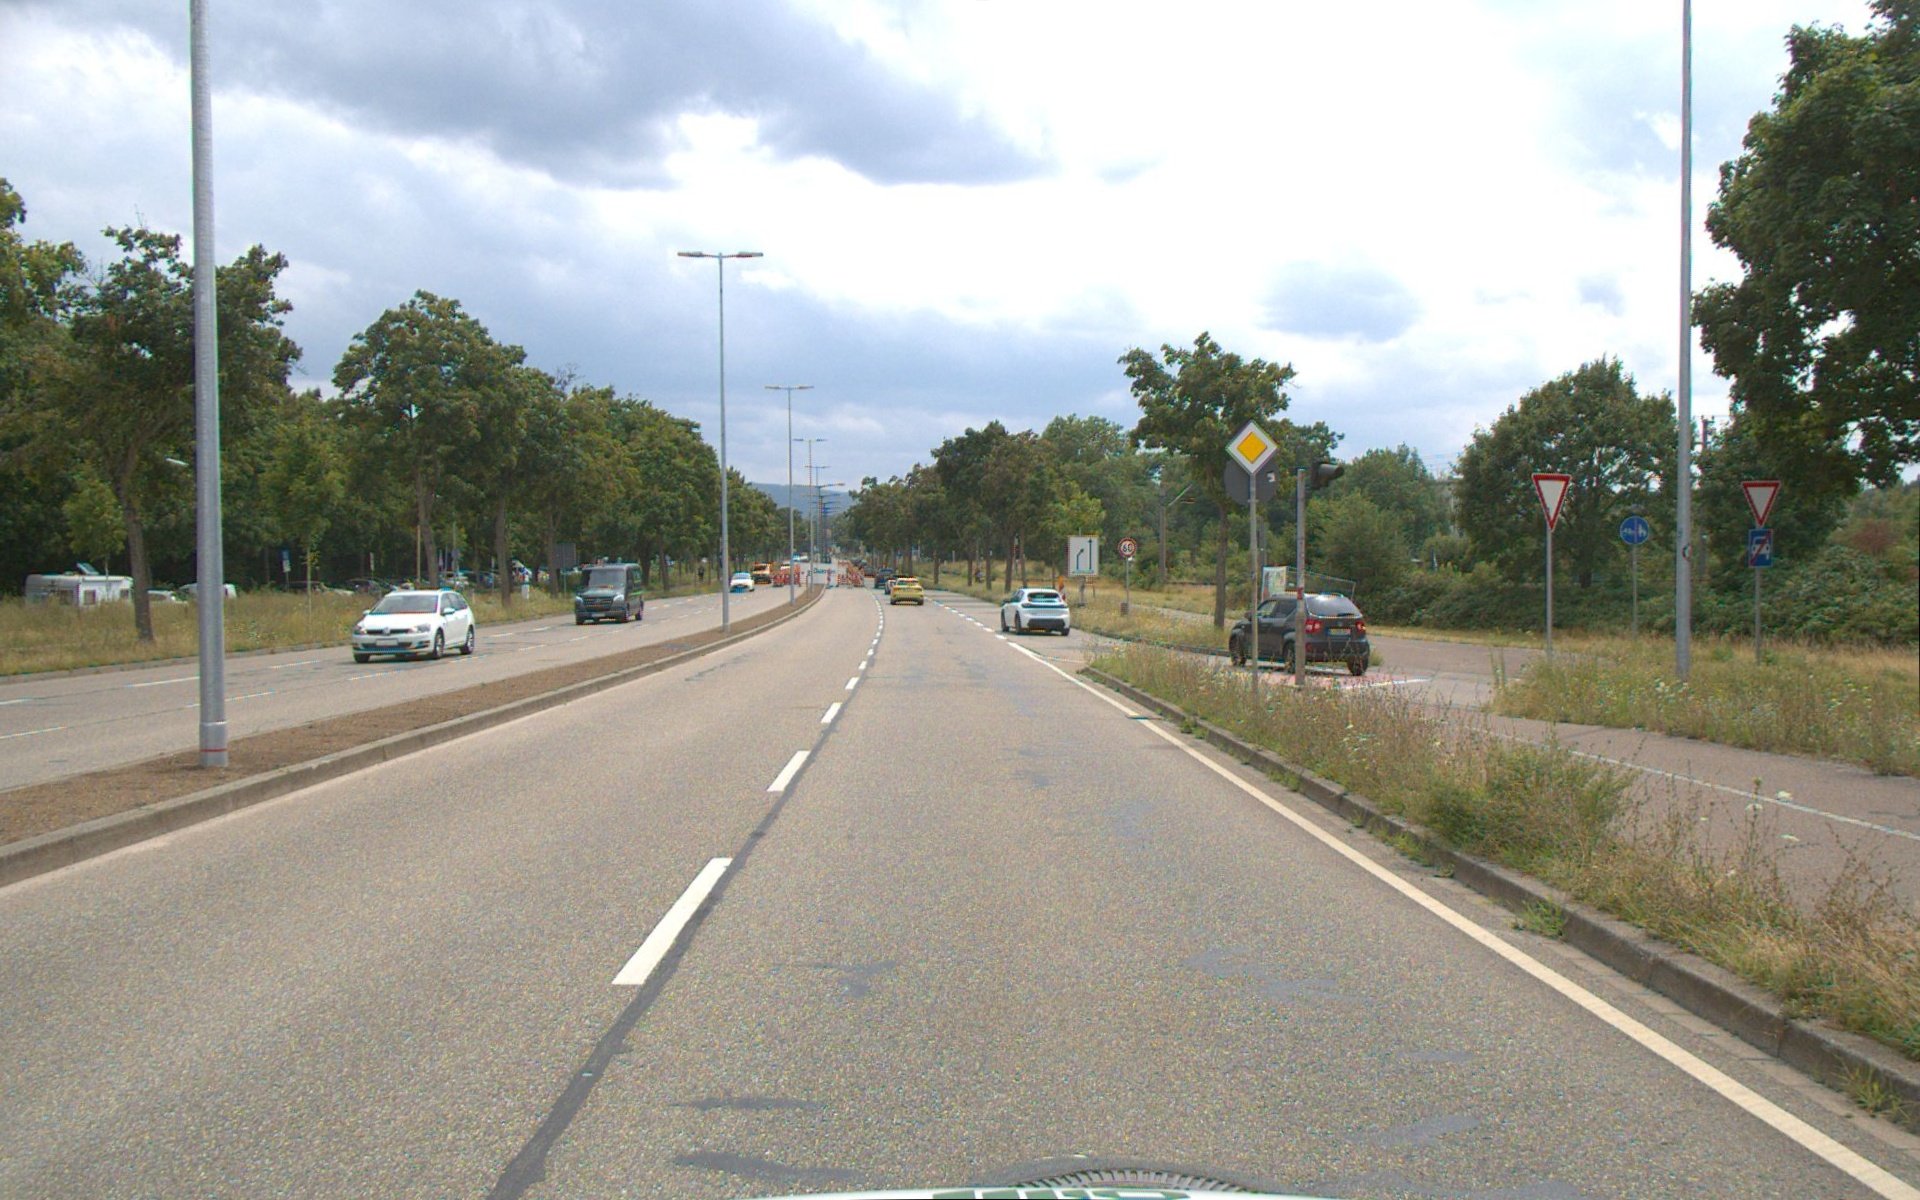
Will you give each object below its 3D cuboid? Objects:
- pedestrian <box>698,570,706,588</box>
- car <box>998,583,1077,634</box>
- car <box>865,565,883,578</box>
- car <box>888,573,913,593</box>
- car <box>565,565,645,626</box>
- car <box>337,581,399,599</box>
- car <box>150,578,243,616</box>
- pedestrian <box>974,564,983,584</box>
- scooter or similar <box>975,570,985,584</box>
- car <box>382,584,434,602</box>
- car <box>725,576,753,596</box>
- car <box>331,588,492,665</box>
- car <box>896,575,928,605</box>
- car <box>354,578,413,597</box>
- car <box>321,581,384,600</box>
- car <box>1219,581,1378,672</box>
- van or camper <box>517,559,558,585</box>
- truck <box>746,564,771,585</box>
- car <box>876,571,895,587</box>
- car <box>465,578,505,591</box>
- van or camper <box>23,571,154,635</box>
[{"bbox_3d":[-26.687,-2.189,170.997,0.682,1.870,0.646,-1,1,-25],"label":"pedestrian"},{"bbox_3d":[2.466,0.248,53.492,1.734,1.489,3.991,0,2,-10],"label":"car"},{"bbox_3d":[-11.121,-3.733,214.744,2.161,1.713,4.000,0,2,-1],"label":"car"},{"bbox_3d":[-4.088,-1.148,113.477,1.633,1.292,3.999,0,2,-2],"label":"car"},{"bbox_3d":[-13.905,-0.226,65.123,2.053,2.239,6.001,-1,1,-3],"label":"car"},{"bbox_3d":[-43.690,-0.752,122.116,3.907,1.281,1.853,0,2,-3],"label":"car"},{"bbox_3d":[-39.827,-0.185,86.369,3.908,1.920,1.938,0,2,-4],"label":"car"},{"bbox_3d":[1.585,-2.246,142.290,0.677,1.724,0.932,0,1,-8],"label":"pedestrian"},{"bbox_3d":[1.722,-1.947,141.377,0.669,1.149,0.932,0,1,-9],"label":"scooter or similar"},{"bbox_3d":[-44.061,-0.591,132.151,3.572,1.384,1.708,0,2,-2],"label":"car"},{"bbox_3d":[-17.237,-1.124,129.191,1.682,1.444,4.158,-2,2,-2],"label":"car"},{"bbox_3d":[-11.878,0.521,36.153,1.953,1.455,4.688,-1,1,-1],"label":"car"},{"bbox_3d":[-2.656,-0.561,91.031,1.757,1.589,3.999,0,2,-2],"label":"car"},{"bbox_3d":[-44.186,-0.974,126.826,3.906,1.384,1.667,0,2,-2],"label":"car"},{"bbox_3d":[-43.315,-0.696,117.892,3.907,1.281,1.563,0,2,-3],"label":"car"},{"bbox_3d":[6.907,0.501,34.118,1.674,1.697,3.987,1,1,-13],"label":"car"},{"bbox_3d":[-45.812,-3.075,179.430,3.908,2.804,1.925,0,1,-4],"label":"van or camper"},{"bbox_3d":[-20.435,-2.617,167.919,2.047,2.029,6.036,-2,2,-3],"label":"truck"},{"bbox_3d":[-6.310,-1.785,140.767,1.633,1.292,3.999,0,2,-2],"label":"car"},{"bbox_3d":[-44.046,-1.458,153.327,3.299,1.113,1.441,0,2,-3],"label":"car"},{"bbox_3d":[-38.168,0.053,72.693,2.422,2.585,6.718,0,2,-3],"label":"van or camper"}]
